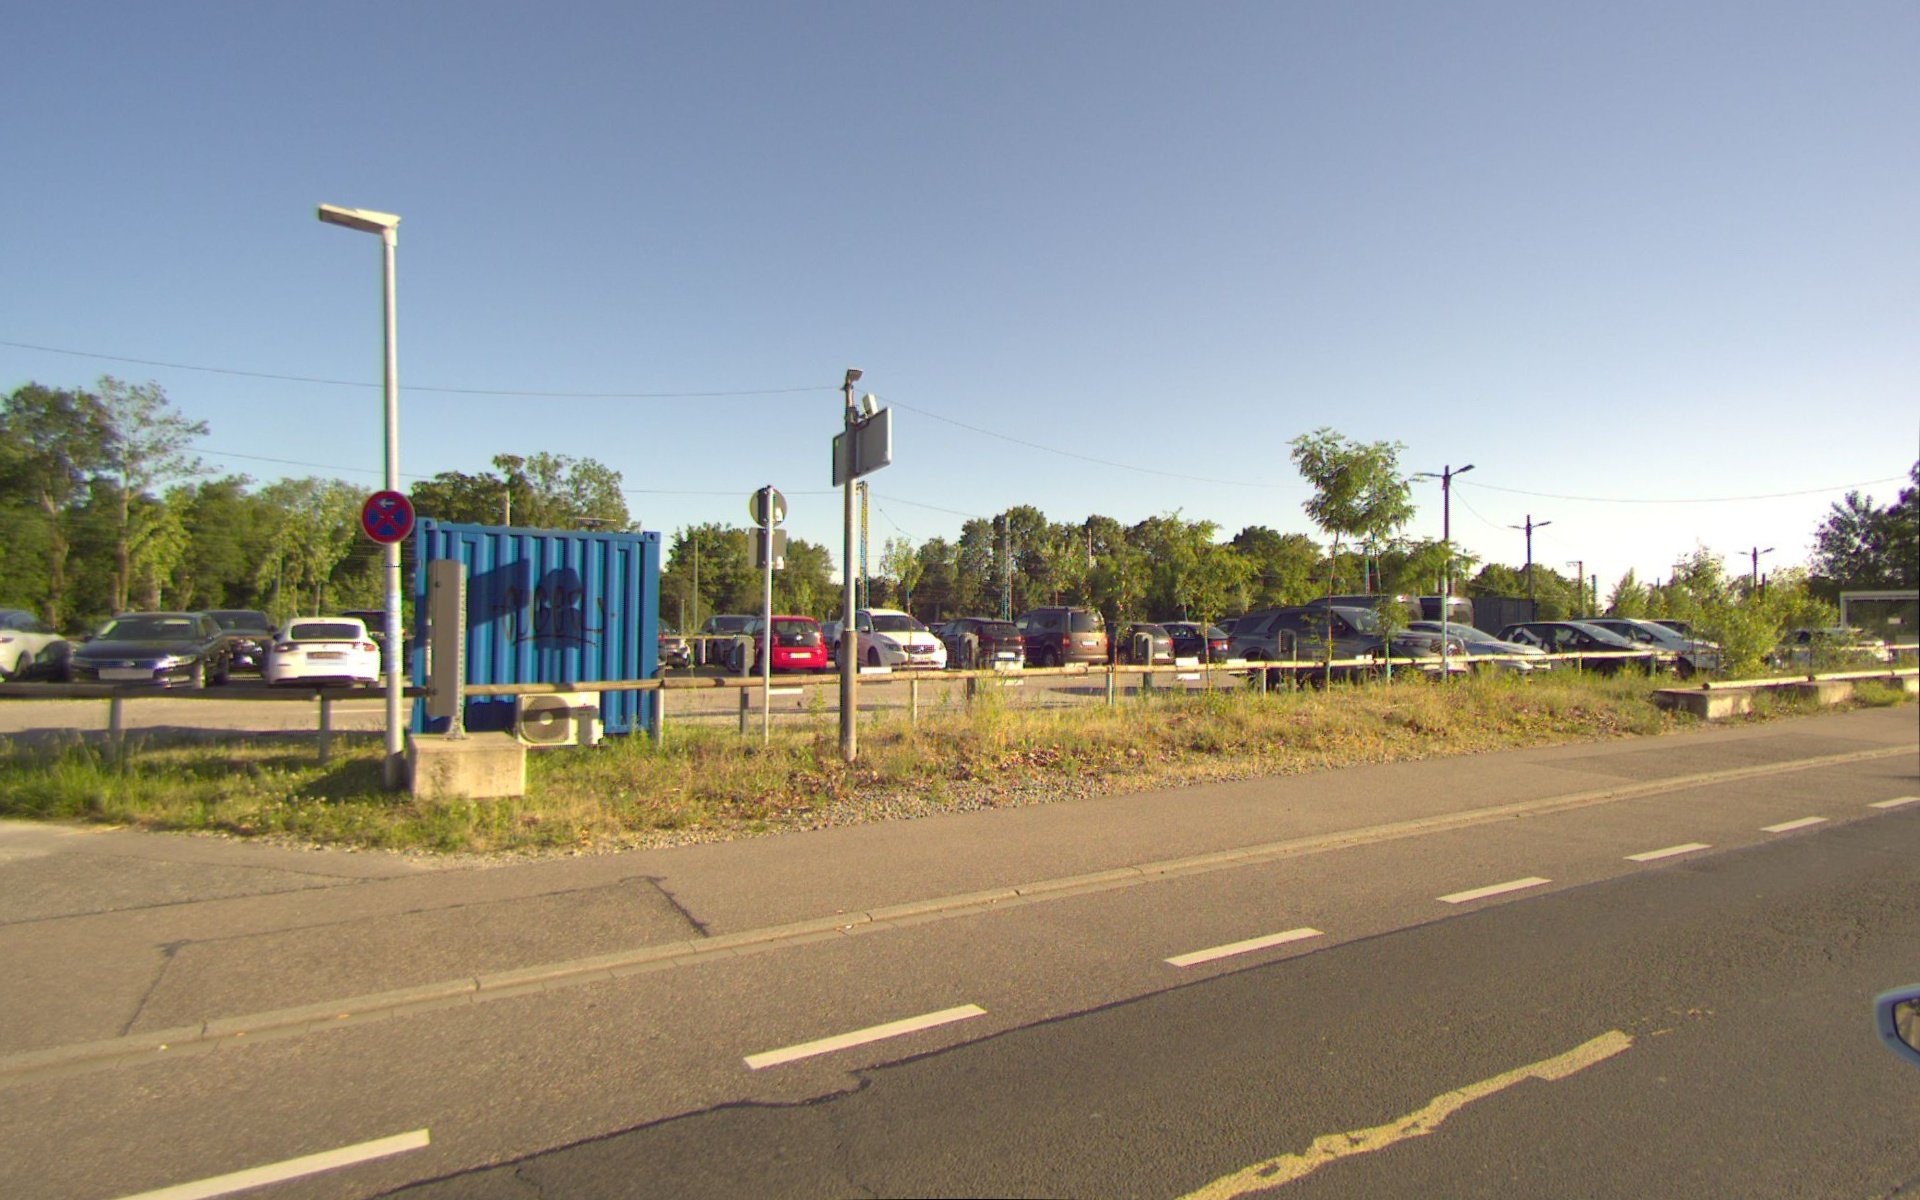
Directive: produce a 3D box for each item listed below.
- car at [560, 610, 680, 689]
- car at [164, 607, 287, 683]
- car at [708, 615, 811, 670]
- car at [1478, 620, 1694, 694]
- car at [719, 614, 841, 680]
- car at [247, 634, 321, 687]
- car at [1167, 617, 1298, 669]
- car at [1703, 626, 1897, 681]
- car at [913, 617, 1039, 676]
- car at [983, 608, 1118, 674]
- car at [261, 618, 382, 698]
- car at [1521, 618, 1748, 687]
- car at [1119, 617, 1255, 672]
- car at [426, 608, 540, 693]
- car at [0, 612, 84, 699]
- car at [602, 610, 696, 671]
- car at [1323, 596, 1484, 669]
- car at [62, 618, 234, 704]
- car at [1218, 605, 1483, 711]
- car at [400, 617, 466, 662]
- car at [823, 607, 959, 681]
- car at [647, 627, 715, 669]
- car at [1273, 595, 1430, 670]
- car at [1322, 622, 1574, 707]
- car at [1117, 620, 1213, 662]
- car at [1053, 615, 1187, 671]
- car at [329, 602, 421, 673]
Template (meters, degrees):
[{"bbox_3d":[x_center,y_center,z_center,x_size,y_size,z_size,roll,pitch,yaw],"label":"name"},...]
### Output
[{"bbox_3d":[-7.846,1.064,22.987,1.856,1.625,3.864,1,-1,-31],"label":"car"},{"bbox_3d":[-17.072,0.997,23.521,1.856,1.625,3.865,1,-1,-30],"label":"car"},{"bbox_3d":[-6.089,1.224,30.226,1.856,1.540,3.864,1,-1,-31],"label":"car"},{"bbox_3d":[14.954,1.301,24.220,1.856,1.578,4.068,1,-1,-31],"label":"car"},{"bbox_3d":[-4.692,1.152,25.720,1.856,1.540,3.864,1,-1,-31],"label":"car"},{"bbox_3d":[-22.095,1.920,32.948,1.733,1.574,3.705,1,-1,-30],"label":"car"},{"bbox_3d":[9.156,1.407,34.076,1.856,1.639,4.187,1,-1,-31],"label":"car"},{"bbox_3d":[26.587,1.633,31.944,1.856,1.578,4.404,1,-1,-31],"label":"car"},{"bbox_3d":[0.393,1.256,28.619,1.856,1.540,3.864,1,-1,-31],"label":"car"},{"bbox_3d":[2.614,1.179,29.982,1.856,1.815,4.300,1,-1,-31],"label":"car"},{"bbox_3d":[-12.762,1.088,20.270,1.856,1.394,4.300,1,-1,-31],"label":"car"},{"bbox_3d":[17.207,1.279,25.868,1.856,1.578,4.520,1,-1,-30],"label":"car"},{"bbox_3d":[7.226,1.383,32.382,1.856,1.639,4.300,1,-1,-31],"label":"car"},{"bbox_3d":[-10.256,1.005,21.466,1.856,1.625,3.864,1,-1,-31],"label":"car"},{"bbox_3d":[-17.546,0.928,18.094,1.856,1.438,4.300,1,-1,-31],"label":"car"},{"bbox_3d":[-8.963,1.113,28.761,1.855,1.625,3.866,1,-1,-29],"label":"car"},{"bbox_3d":[16.254,1.168,37.088,2.293,2.492,5.071,1,-1,-31],"label":"car"},{"bbox_3d":[-15.019,1.045,18.816,1.856,1.394,4.300,1,-1,-31],"label":"car"},{"bbox_3d":[7.672,1.059,20.246,1.977,1.859,4.821,1,-1,-30],"label":"car"},{"bbox_3d":[-18.443,1.325,35.078,1.856,1.455,3.864,1,-1,-31],"label":"car"},{"bbox_3d":[-1.926,1.098,26.568,2.031,1.764,4.565,1,-1,-26],"label":"car"},{"bbox_3d":[-11.004,1.838,39.535,1.733,1.514,3.705,1,-1,-30],"label":"car"},{"bbox_3d":[13.882,1.121,35.922,2.293,2.492,4.902,1,-1,-31],"label":"car"},{"bbox_3d":[10.295,1.279,21.582,1.977,1.578,4.572,1,-1,-31],"label":"car"},{"bbox_3d":[8.353,1.653,41.180,1.687,1.615,3.969,2,-2,-29],"label":"car"},{"bbox_3d":[4.915,1.286,31.397,1.856,1.639,4.300,1,-1,-31],"label":"car"},{"bbox_3d":[-14.625,0.889,25.197,1.856,1.625,3.865,1,-1,-30],"label":"car"}]
